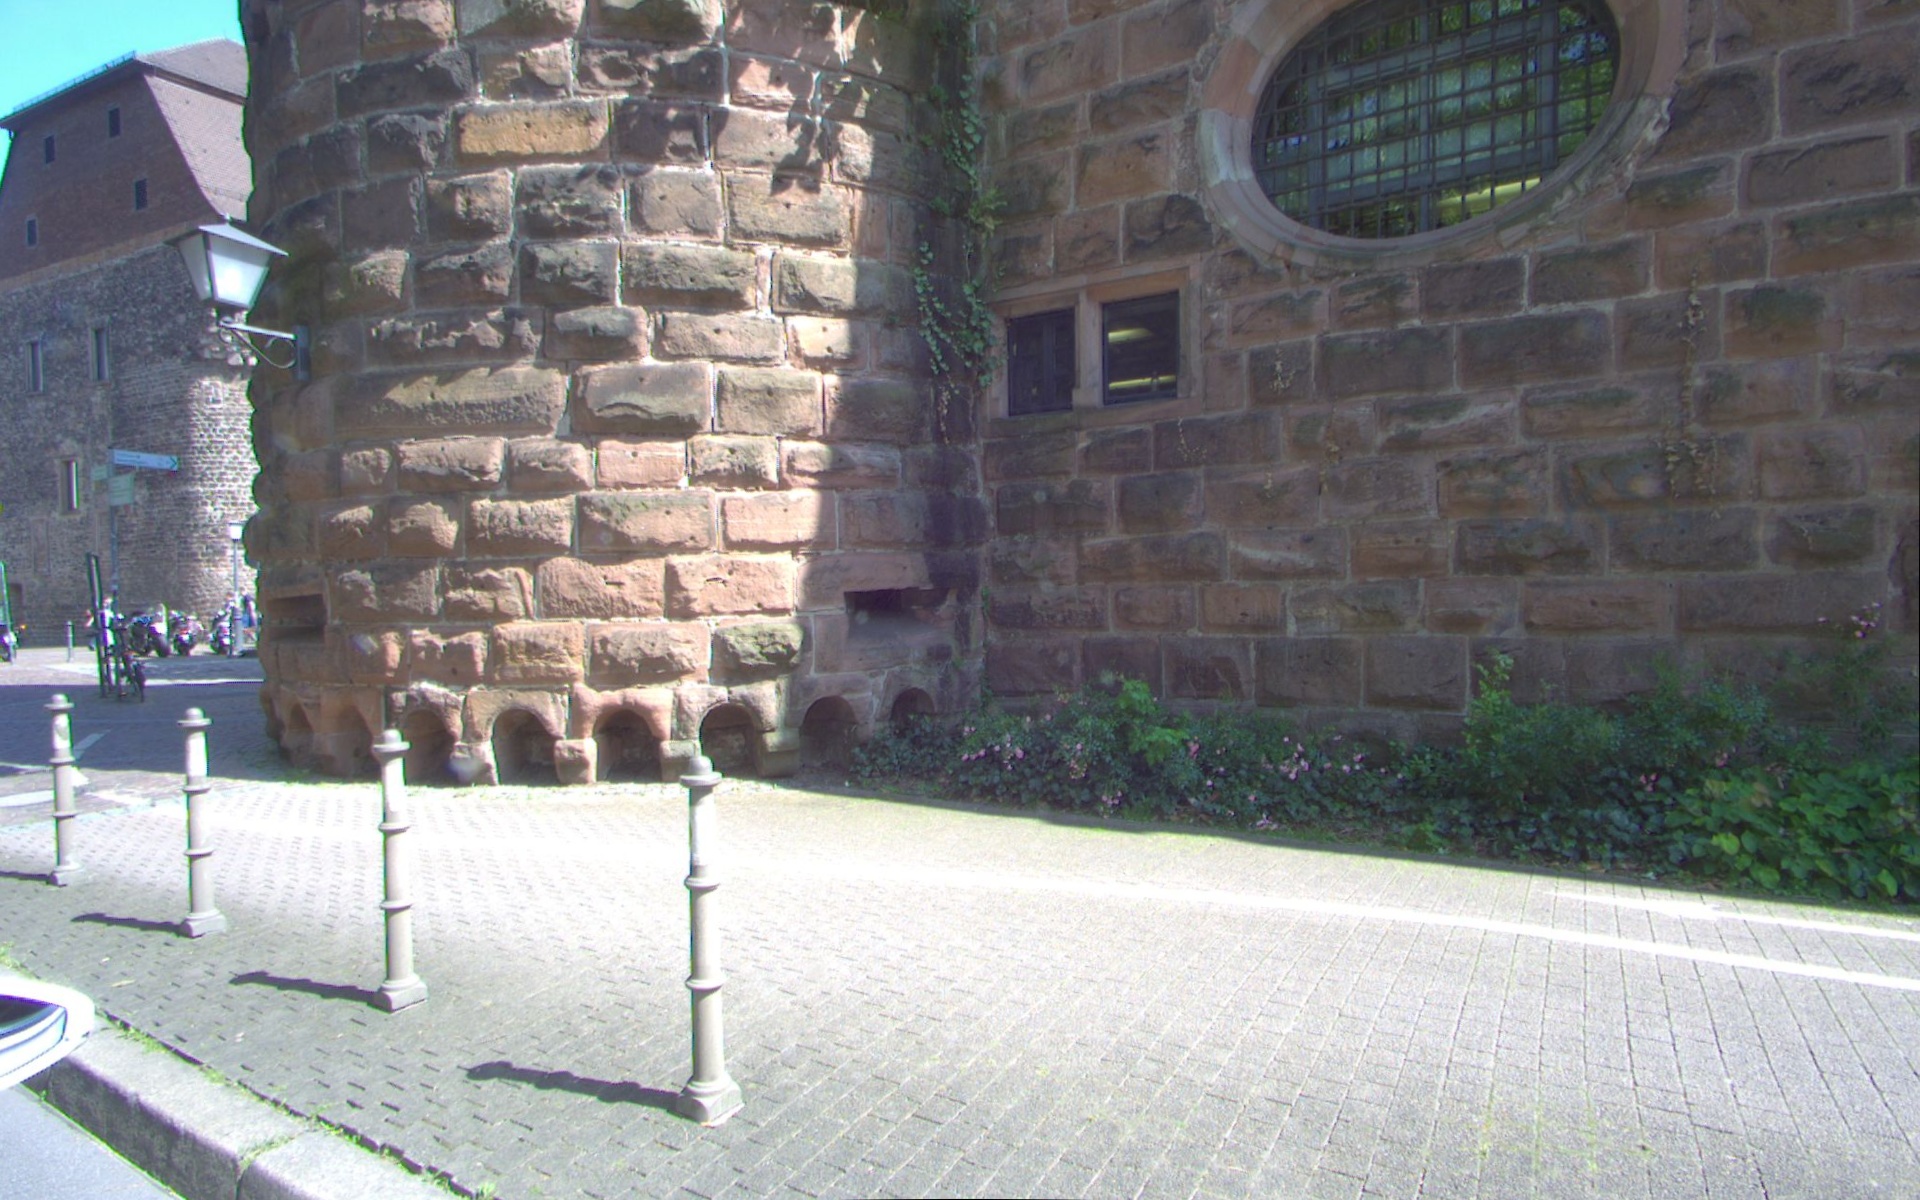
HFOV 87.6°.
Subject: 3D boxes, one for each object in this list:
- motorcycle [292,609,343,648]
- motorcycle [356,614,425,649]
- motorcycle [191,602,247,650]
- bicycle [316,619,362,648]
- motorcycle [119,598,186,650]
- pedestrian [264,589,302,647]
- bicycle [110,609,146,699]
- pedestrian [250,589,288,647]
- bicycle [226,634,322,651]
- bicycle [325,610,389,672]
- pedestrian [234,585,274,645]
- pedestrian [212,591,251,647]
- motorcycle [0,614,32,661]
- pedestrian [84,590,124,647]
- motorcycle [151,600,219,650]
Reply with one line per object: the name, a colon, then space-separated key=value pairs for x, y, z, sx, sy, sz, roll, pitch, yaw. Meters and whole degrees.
motorcycle: x=-18.384 y=0.832 z=28.631 sx=1.814 sy=1.087 sz=0.506 roll=-1 pitch=-2 yaw=32
motorcycle: x=-17.938 y=0.994 z=31.573 sx=0.474 sy=1.067 sz=1.858 roll=-1 pitch=-2 yaw=40
motorcycle: x=-20.096 y=0.717 z=27.152 sx=2.002 sy=1.251 sz=0.545 roll=-1 pitch=-2 yaw=32
bicycle: x=-18.379 y=0.991 z=29.618 sx=1.898 sy=0.831 sz=0.353 roll=0 pitch=-1 yaw=32
motorcycle: x=-20.532 y=0.624 z=25.454 sx=2.169 sy=1.282 sz=0.654 roll=-1 pitch=-1 yaw=32
pedestrian: x=-23.077 y=0.617 z=34.131 sx=0.805 sy=1.944 sz=0.671 roll=0 pitch=-1 yaw=4
bicycle: x=-12.033 y=0.751 z=14.474 sx=1.750 sy=1.220 sz=0.192 roll=0 pitch=1 yaw=44
pedestrian: x=-22.953 y=0.600 z=33.277 sx=0.805 sy=1.908 sz=0.670 roll=0 pitch=-1 yaw=9
bicycle: x=-17.544 y=1.086 z=25.625 sx=1.916 sy=0.386 sz=0.909 roll=0 pitch=-2 yaw=-44
bicycle: x=-11.988 y=0.800 z=19.877 sx=1.707 sy=1.178 sz=0.445 roll=0 pitch=1 yaw=36
pedestrian: x=-24.276 y=0.508 z=34.461 sx=0.861 sy=2.039 sz=0.732 roll=0 pitch=-1 yaw=-6
pedestrian: x=-24.240 y=0.638 z=33.326 sx=0.830 sy=1.826 sz=0.654 roll=0 pitch=0 yaw=0
motorcycle: x=-22.235 y=0.841 z=23.087 sx=2.453 sy=1.026 sz=0.565 roll=0 pitch=1 yaw=32
pedestrian: x=-25.464 y=0.544 z=29.800 sx=0.799 sy=1.684 sz=0.652 roll=-1 pitch=1 yaw=-34
motorcycle: x=-20.446 y=0.671 z=26.394 sx=2.280 sy=1.251 sz=0.674 roll=-1 pitch=-2 yaw=32
